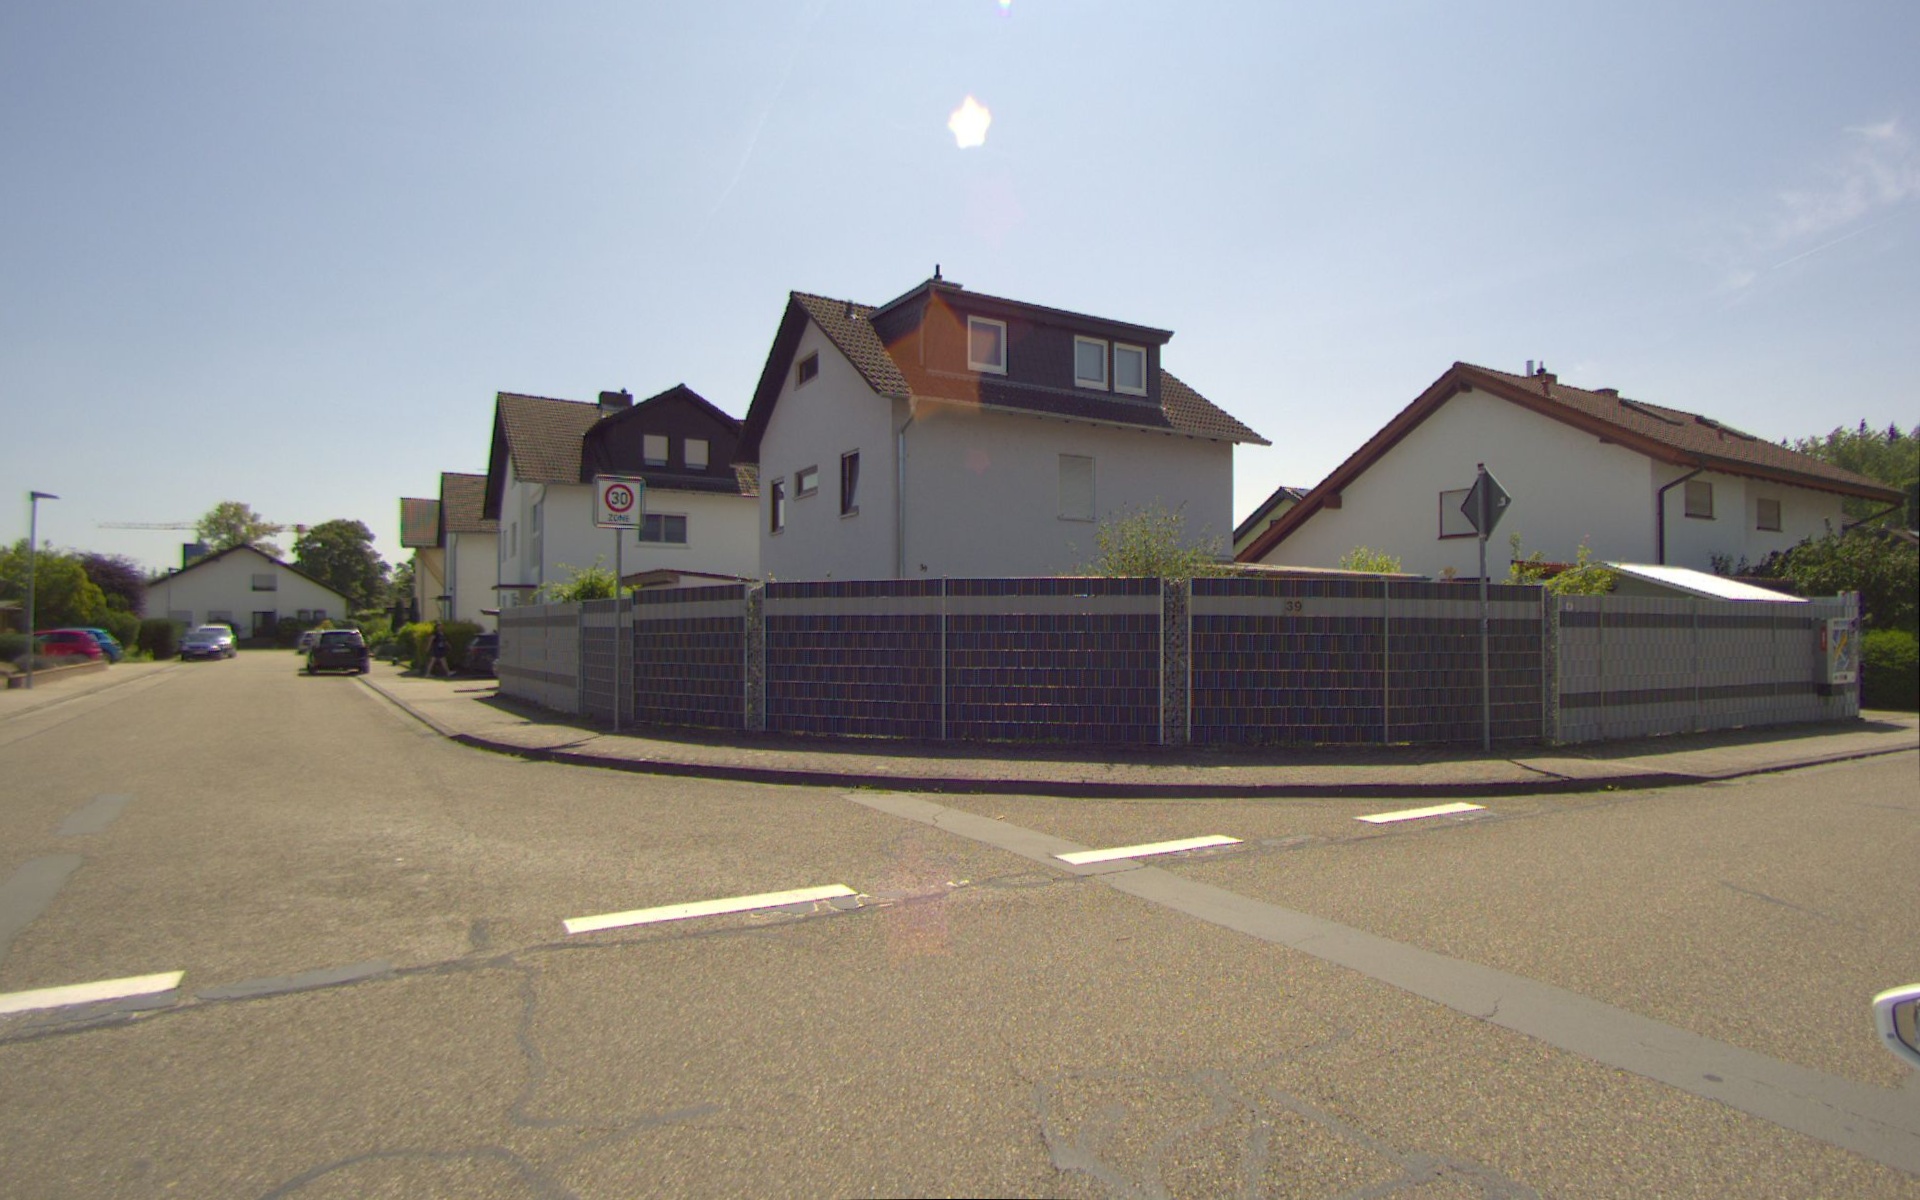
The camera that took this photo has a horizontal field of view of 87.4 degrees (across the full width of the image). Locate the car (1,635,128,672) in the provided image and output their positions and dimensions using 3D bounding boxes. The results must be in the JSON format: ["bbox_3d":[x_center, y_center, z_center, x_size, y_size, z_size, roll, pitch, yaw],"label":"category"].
[{"bbox_3d":[-38.253,2.241,43.040,3.881,1.505,1.662,1,-2,-37],"label":"car"}]

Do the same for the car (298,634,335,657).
[{"bbox_3d":[-41.016,2.897,64.095,1.752,1.431,3.970,1,-2,-29],"label":"car"}]

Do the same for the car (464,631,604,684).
[{"bbox_3d":[-13.649,1.793,32.224,3.955,1.617,1.758,1,-2,-31],"label":"car"}]

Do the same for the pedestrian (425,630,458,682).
[{"bbox_3d":[-16.572,1.786,32.116,0.851,1.648,0.661,1,-2,-22],"label":"pedestrian"}]

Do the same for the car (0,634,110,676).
[{"bbox_3d":[-37.023,2.200,40.612,3.923,1.607,1.741,1,-2,-37],"label":"car"}]

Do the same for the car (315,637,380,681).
[{"bbox_3d":[-21.336,2.027,35.099,1.752,1.431,3.970,1,-2,-29],"label":"car"}]

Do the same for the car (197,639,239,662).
[{"bbox_3d":[-40.286,2.700,54.590,1.481,1.186,3.402,1,-2,-31],"label":"car"}]

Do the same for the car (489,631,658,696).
[{"bbox_3d":[-10.245,1.629,26.673,3.954,1.617,1.759,1,-2,-31],"label":"car"}]

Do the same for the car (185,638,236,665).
[{"bbox_3d":[-38.054,2.595,51.046,1.687,1.260,3.923,1,-2,-31],"label":"car"}]
